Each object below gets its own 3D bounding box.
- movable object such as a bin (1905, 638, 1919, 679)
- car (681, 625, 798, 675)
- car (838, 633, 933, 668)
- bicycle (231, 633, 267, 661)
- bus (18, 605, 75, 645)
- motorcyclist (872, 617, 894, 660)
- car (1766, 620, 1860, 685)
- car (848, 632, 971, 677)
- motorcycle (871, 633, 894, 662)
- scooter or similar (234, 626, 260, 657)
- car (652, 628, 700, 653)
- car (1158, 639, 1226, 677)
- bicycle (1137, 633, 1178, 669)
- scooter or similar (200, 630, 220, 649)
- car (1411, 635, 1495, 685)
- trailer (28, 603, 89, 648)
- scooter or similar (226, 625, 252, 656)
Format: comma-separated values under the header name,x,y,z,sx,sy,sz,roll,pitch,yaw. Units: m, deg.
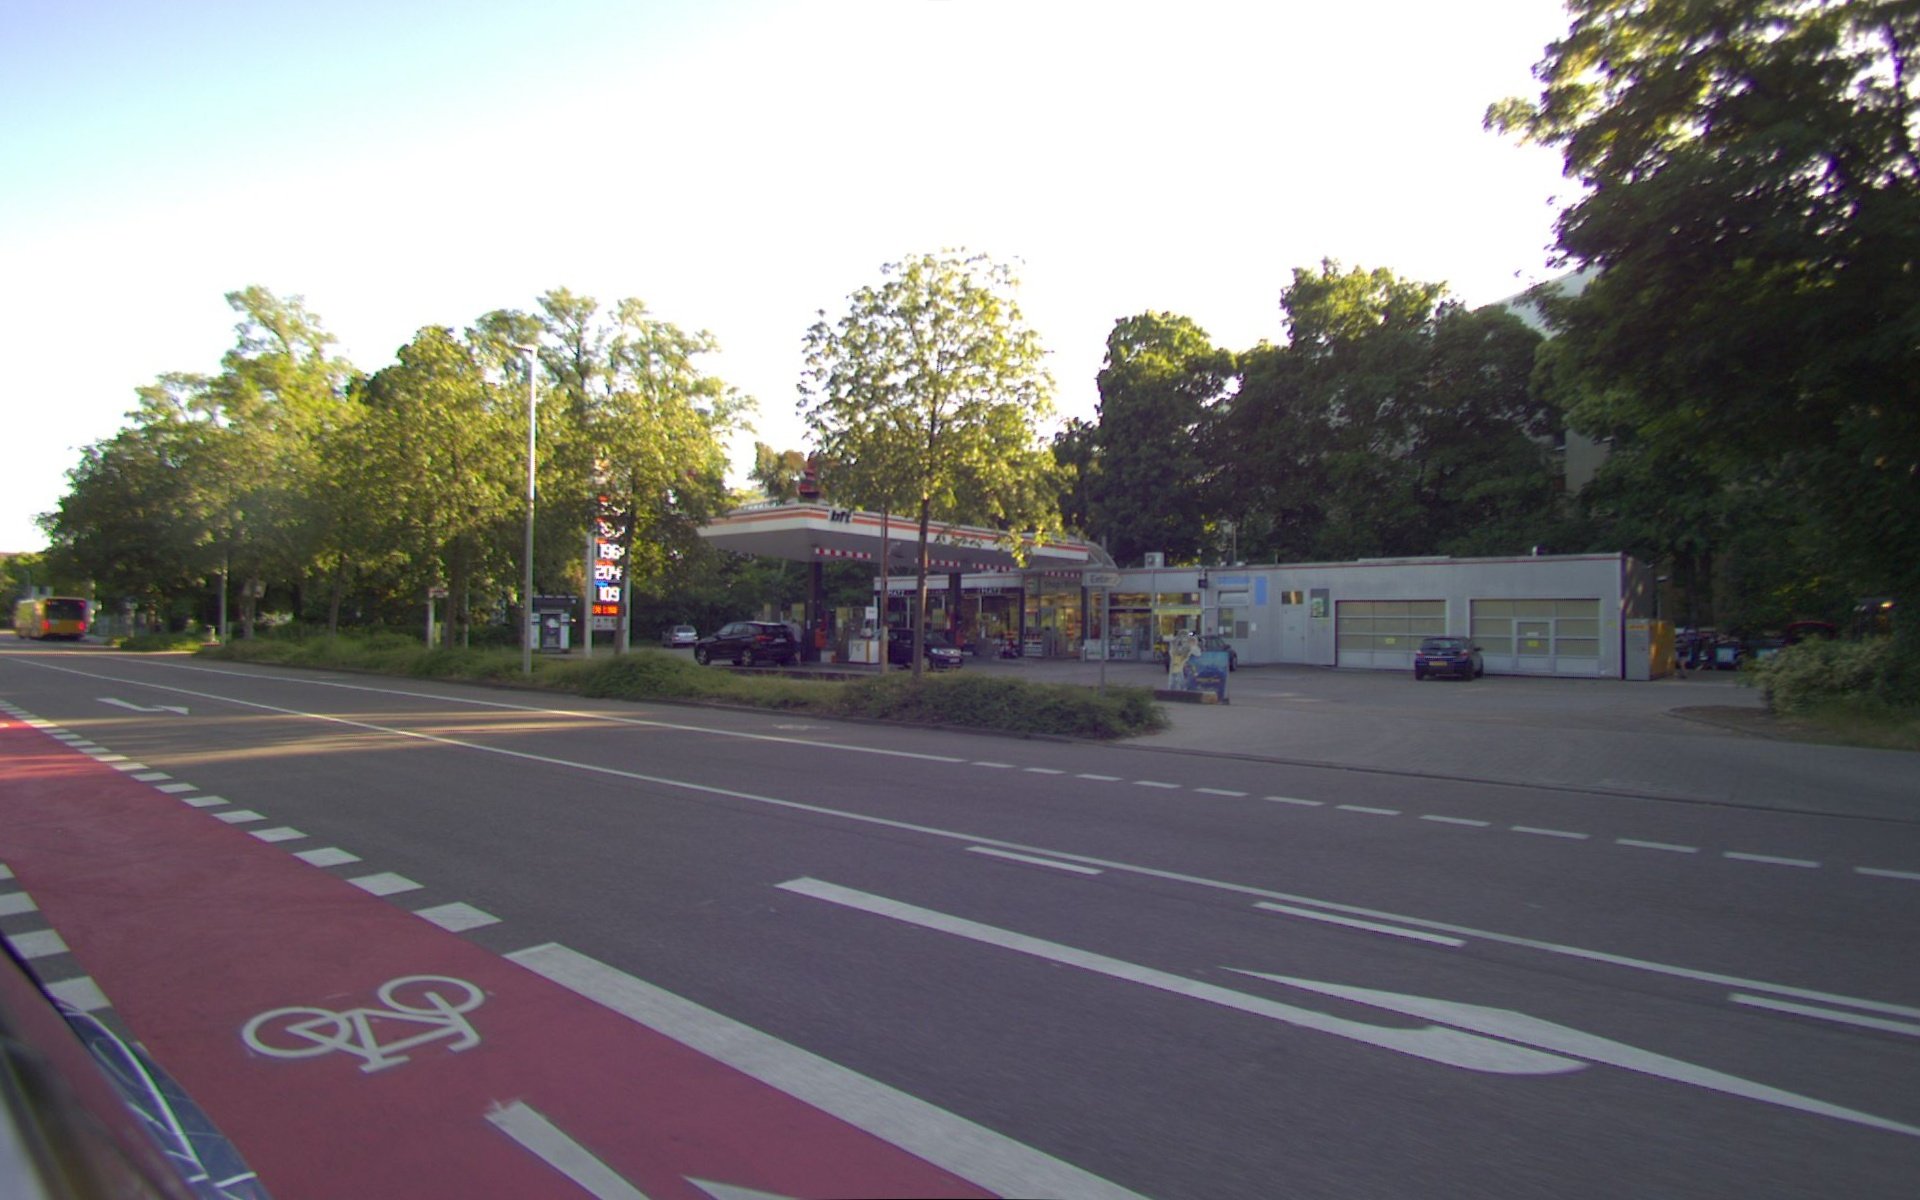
name,x,y,z,sx,sy,sz,roll,pitch,yaw
movable object such as a bin,37.415,2.249,39.098,1.284,1.538,1.219,0,-1,-41
car,-8.054,1.786,36.832,4.446,1.704,1.695,-1,-3,37
car,-3.230,2.148,43.434,4.057,1.386,1.693,-1,-3,40
bicycle,-32.312,2.120,46.004,2.155,1.259,0.648,-1,-3,36
bus,-77.664,2.171,85.971,8.600,3.221,2.809,-1,-3,43
motorcyclist,-4.032,1.993,52.667,1.107,2.199,1.017,1,-2,-4
car,28.244,1.708,33.630,1.996,1.996,3.952,-1,-2,35
car,-1.902,1.957,36.854,4.574,1.509,1.693,-1,-3,41
motorcycle,-4.051,2.444,52.771,1.117,1.462,2.509,1,-2,-5
scooter or similar,-40.559,2.331,57.559,1.740,1.730,0.819,-2,-3,42
car,-18.400,2.625,65.446,1.966,1.548,4.033,2,-2,-30
car,8.741,2.143,37.979,1.707,1.364,3.600,-1,-2,26
bicycle,8.406,2.153,43.035,0.927,1.488,1.817,-1,-3,42
scooter or similar,-51.545,2.699,69.549,1.570,1.320,0.819,-2,-3,42
car,16.629,1.972,34.042,1.895,1.567,3.951,-1,-3,36
trailer,-71.135,1.953,79.789,9.364,3.381,2.823,-1,-1,44
scooter or similar,-41.972,2.354,58.894,1.740,1.730,0.819,-2,-3,42
